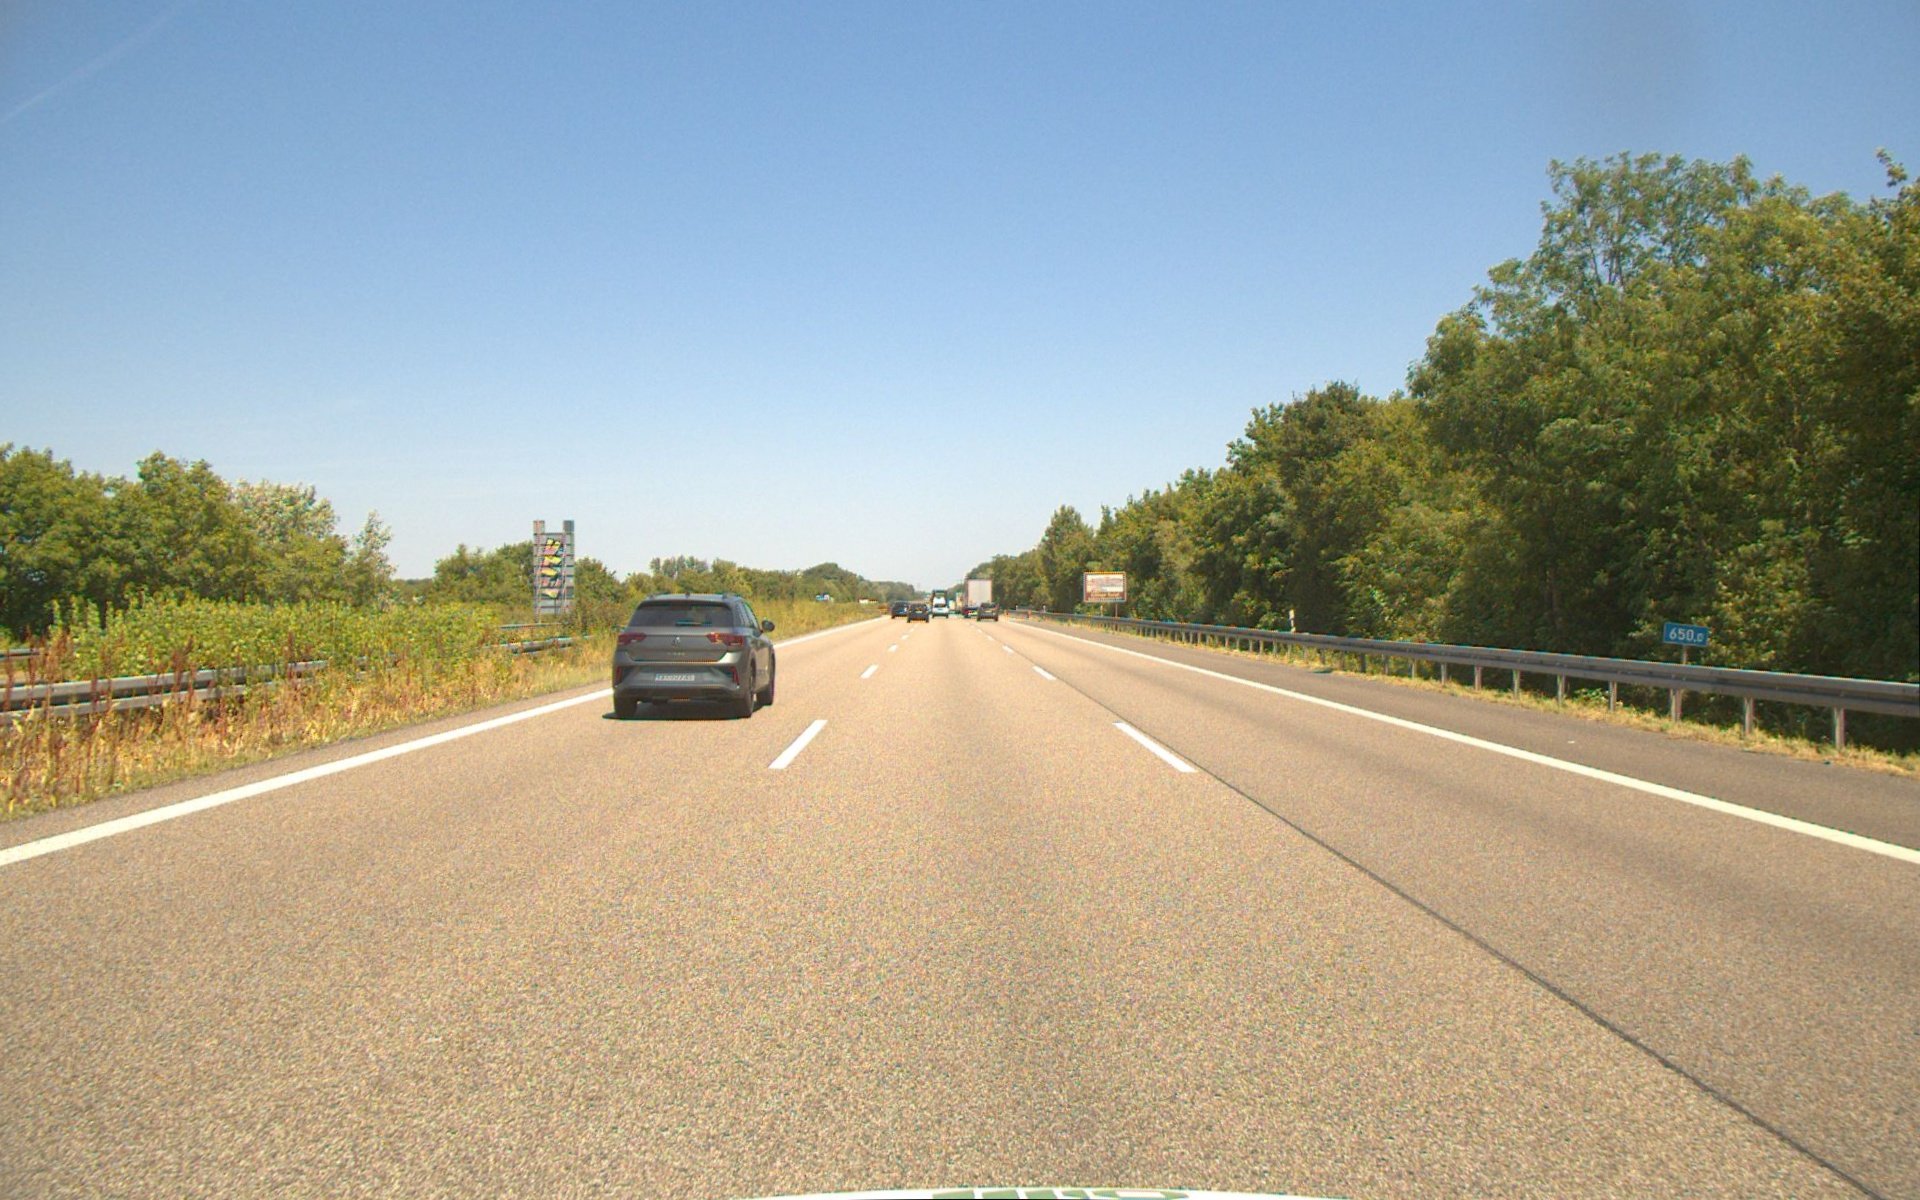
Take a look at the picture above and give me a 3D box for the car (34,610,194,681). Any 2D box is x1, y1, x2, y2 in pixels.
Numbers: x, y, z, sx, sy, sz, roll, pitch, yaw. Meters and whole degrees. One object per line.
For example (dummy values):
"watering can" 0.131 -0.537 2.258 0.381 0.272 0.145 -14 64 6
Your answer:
"car" -21.945 1.132 43.111 1.927 1.701 4.421 1 0 -1

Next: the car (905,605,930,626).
"car" -3.216 1.179 126.351 1.862 1.558 4.083 1 0 -1

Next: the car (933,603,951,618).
"car" -1.915 1.078 172.982 1.862 1.558 4.083 1 0 -1

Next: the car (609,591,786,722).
"car" -3.402 0.682 22.188 1.723 1.558 4.284 1 0 -1

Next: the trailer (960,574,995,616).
"trailer" 1.797 -0.445 177.451 3.365 4.254 13.629 1 -1 -1

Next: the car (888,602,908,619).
"car" -5.937 0.985 158.796 1.869 1.558 4.284 1 0 -1

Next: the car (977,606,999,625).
"car" 2.425 1.376 144.890 1.807 1.657 4.134 0 0 -1
